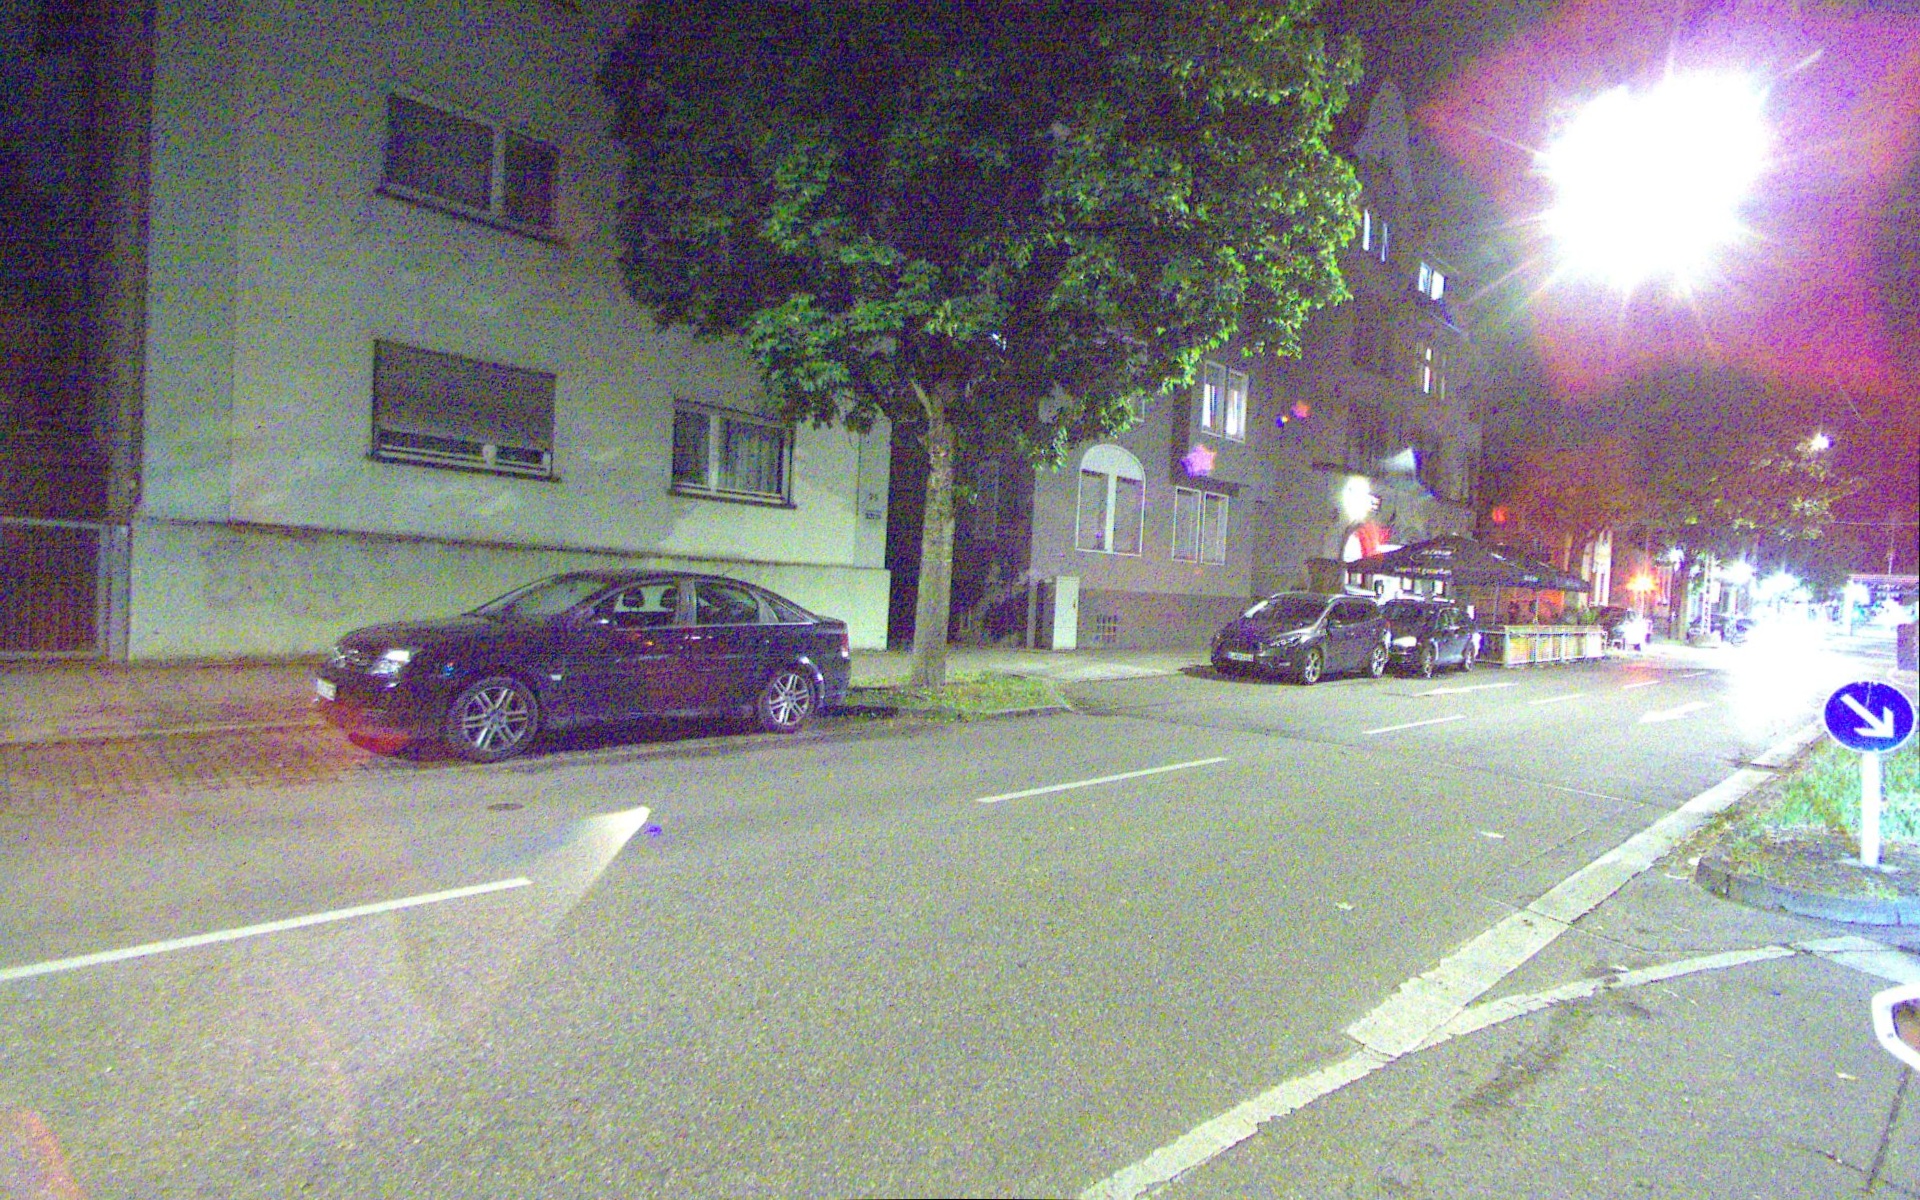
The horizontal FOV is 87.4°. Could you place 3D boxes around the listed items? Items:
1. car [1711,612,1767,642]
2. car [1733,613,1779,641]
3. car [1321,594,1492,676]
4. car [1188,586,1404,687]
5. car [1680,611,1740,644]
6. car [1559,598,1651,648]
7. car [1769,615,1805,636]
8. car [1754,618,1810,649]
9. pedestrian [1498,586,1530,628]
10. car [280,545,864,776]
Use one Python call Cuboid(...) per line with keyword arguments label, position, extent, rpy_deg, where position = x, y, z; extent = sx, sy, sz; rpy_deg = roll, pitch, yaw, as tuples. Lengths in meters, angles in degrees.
Cuboid(label="car", position=(44.887, 1.559, 57.861), extent=(4.299, 1.511, 1.767), rpy_deg=(1, 5, -43))
Cuboid(label="car", position=(49.058, 1.637, 61.898), extent=(1.765, 1.511, 3.976), rpy_deg=(8, 5, 43))
Cuboid(label="car", position=(9.724, 0.722, 21.700), extent=(4.415, 1.453, 1.842), rpy_deg=(2, 3, -45))
Cuboid(label="car", position=(6.150, 0.614, 18.099), extent=(1.842, 1.499, 4.444), rpy_deg=(5, 2, 45))
Cuboid(label="car", position=(38.764, 1.422, 51.902), extent=(3.670, 1.511, 1.578), rpy_deg=(2, 4, -41))
Cuboid(label="car", position=(23.957, 0.847, 37.246), extent=(3.996, 1.618, 1.867), rpy_deg=(2, 3, -44))
Cuboid(label="car", position=(63.465, 1.924, 77.045), extent=(1.765, 1.434, 4.102), rpy_deg=(6, 4, 43))
Cuboid(label="car", position=(40.711, 1.633, 49.722), extent=(3.974, 1.449, 1.698), rpy_deg=(1, 1, -45))
Cuboid(label="pedestrian", position=(23.283, 0.296, 42.226), extent=(1.113, 1.713, 0.705), rpy_deg=(1, 2, -35))
Cuboid(label="car", position=(-3.120, 0.400, 8.787), extent=(1.840, 1.453, 4.379), rpy_deg=(6, 3, 42))
